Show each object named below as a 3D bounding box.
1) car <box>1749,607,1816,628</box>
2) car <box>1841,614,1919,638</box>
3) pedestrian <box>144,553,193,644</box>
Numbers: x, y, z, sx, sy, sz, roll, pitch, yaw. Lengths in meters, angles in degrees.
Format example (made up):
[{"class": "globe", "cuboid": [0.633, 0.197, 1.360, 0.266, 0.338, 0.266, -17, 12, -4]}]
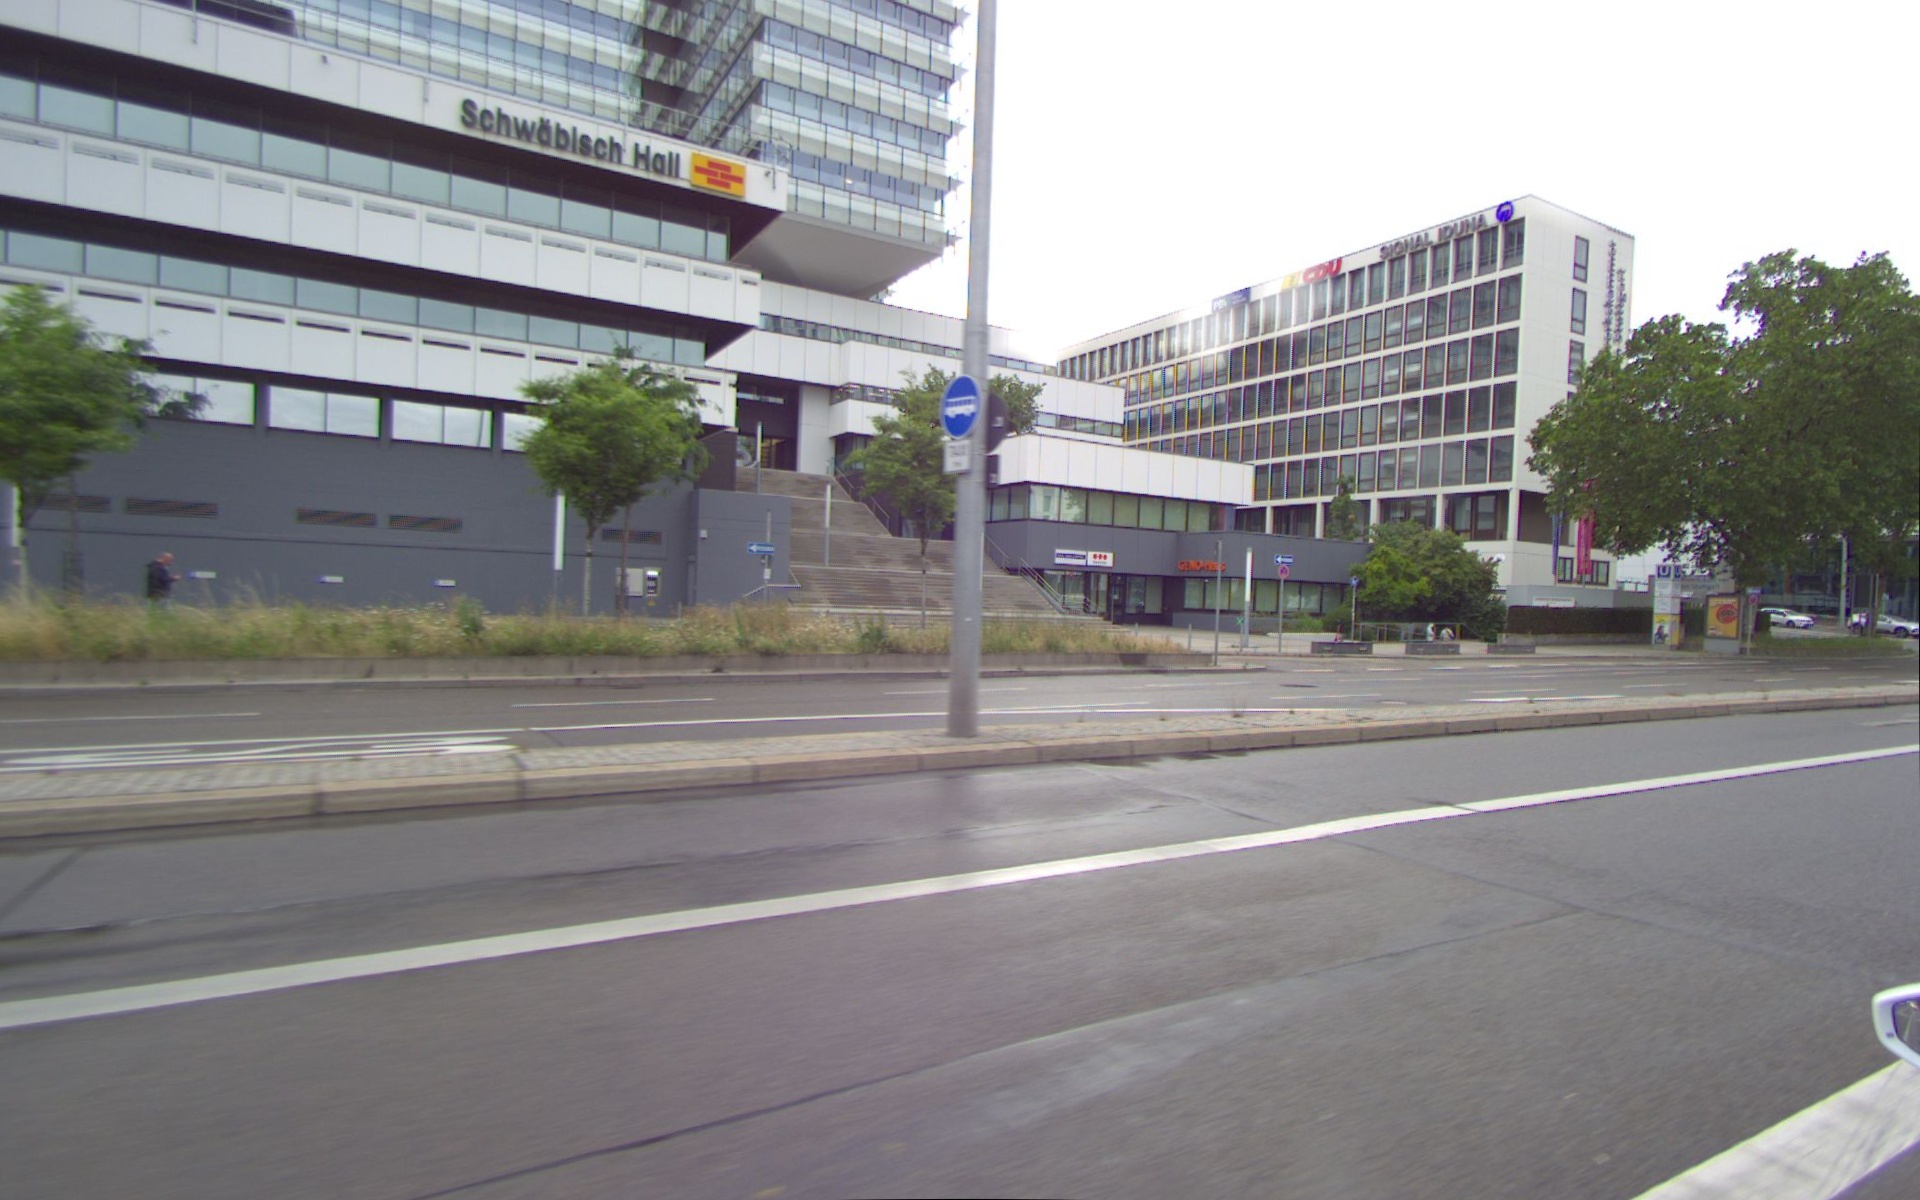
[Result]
[{"class": "car", "cuboid": [68.744, 1.454, 84.047, 1.862, 1.653, 3.989, 2, -1, -13]}, {"class": "car", "cuboid": [70.041, 1.948, 76.218, 1.862, 1.653, 4.504, 2, -1, -13]}, {"class": "pedestrian", "cuboid": [-16.511, -0.027, 20.975, 0.621, 1.832, 0.781, 2, 0, -29]}]
